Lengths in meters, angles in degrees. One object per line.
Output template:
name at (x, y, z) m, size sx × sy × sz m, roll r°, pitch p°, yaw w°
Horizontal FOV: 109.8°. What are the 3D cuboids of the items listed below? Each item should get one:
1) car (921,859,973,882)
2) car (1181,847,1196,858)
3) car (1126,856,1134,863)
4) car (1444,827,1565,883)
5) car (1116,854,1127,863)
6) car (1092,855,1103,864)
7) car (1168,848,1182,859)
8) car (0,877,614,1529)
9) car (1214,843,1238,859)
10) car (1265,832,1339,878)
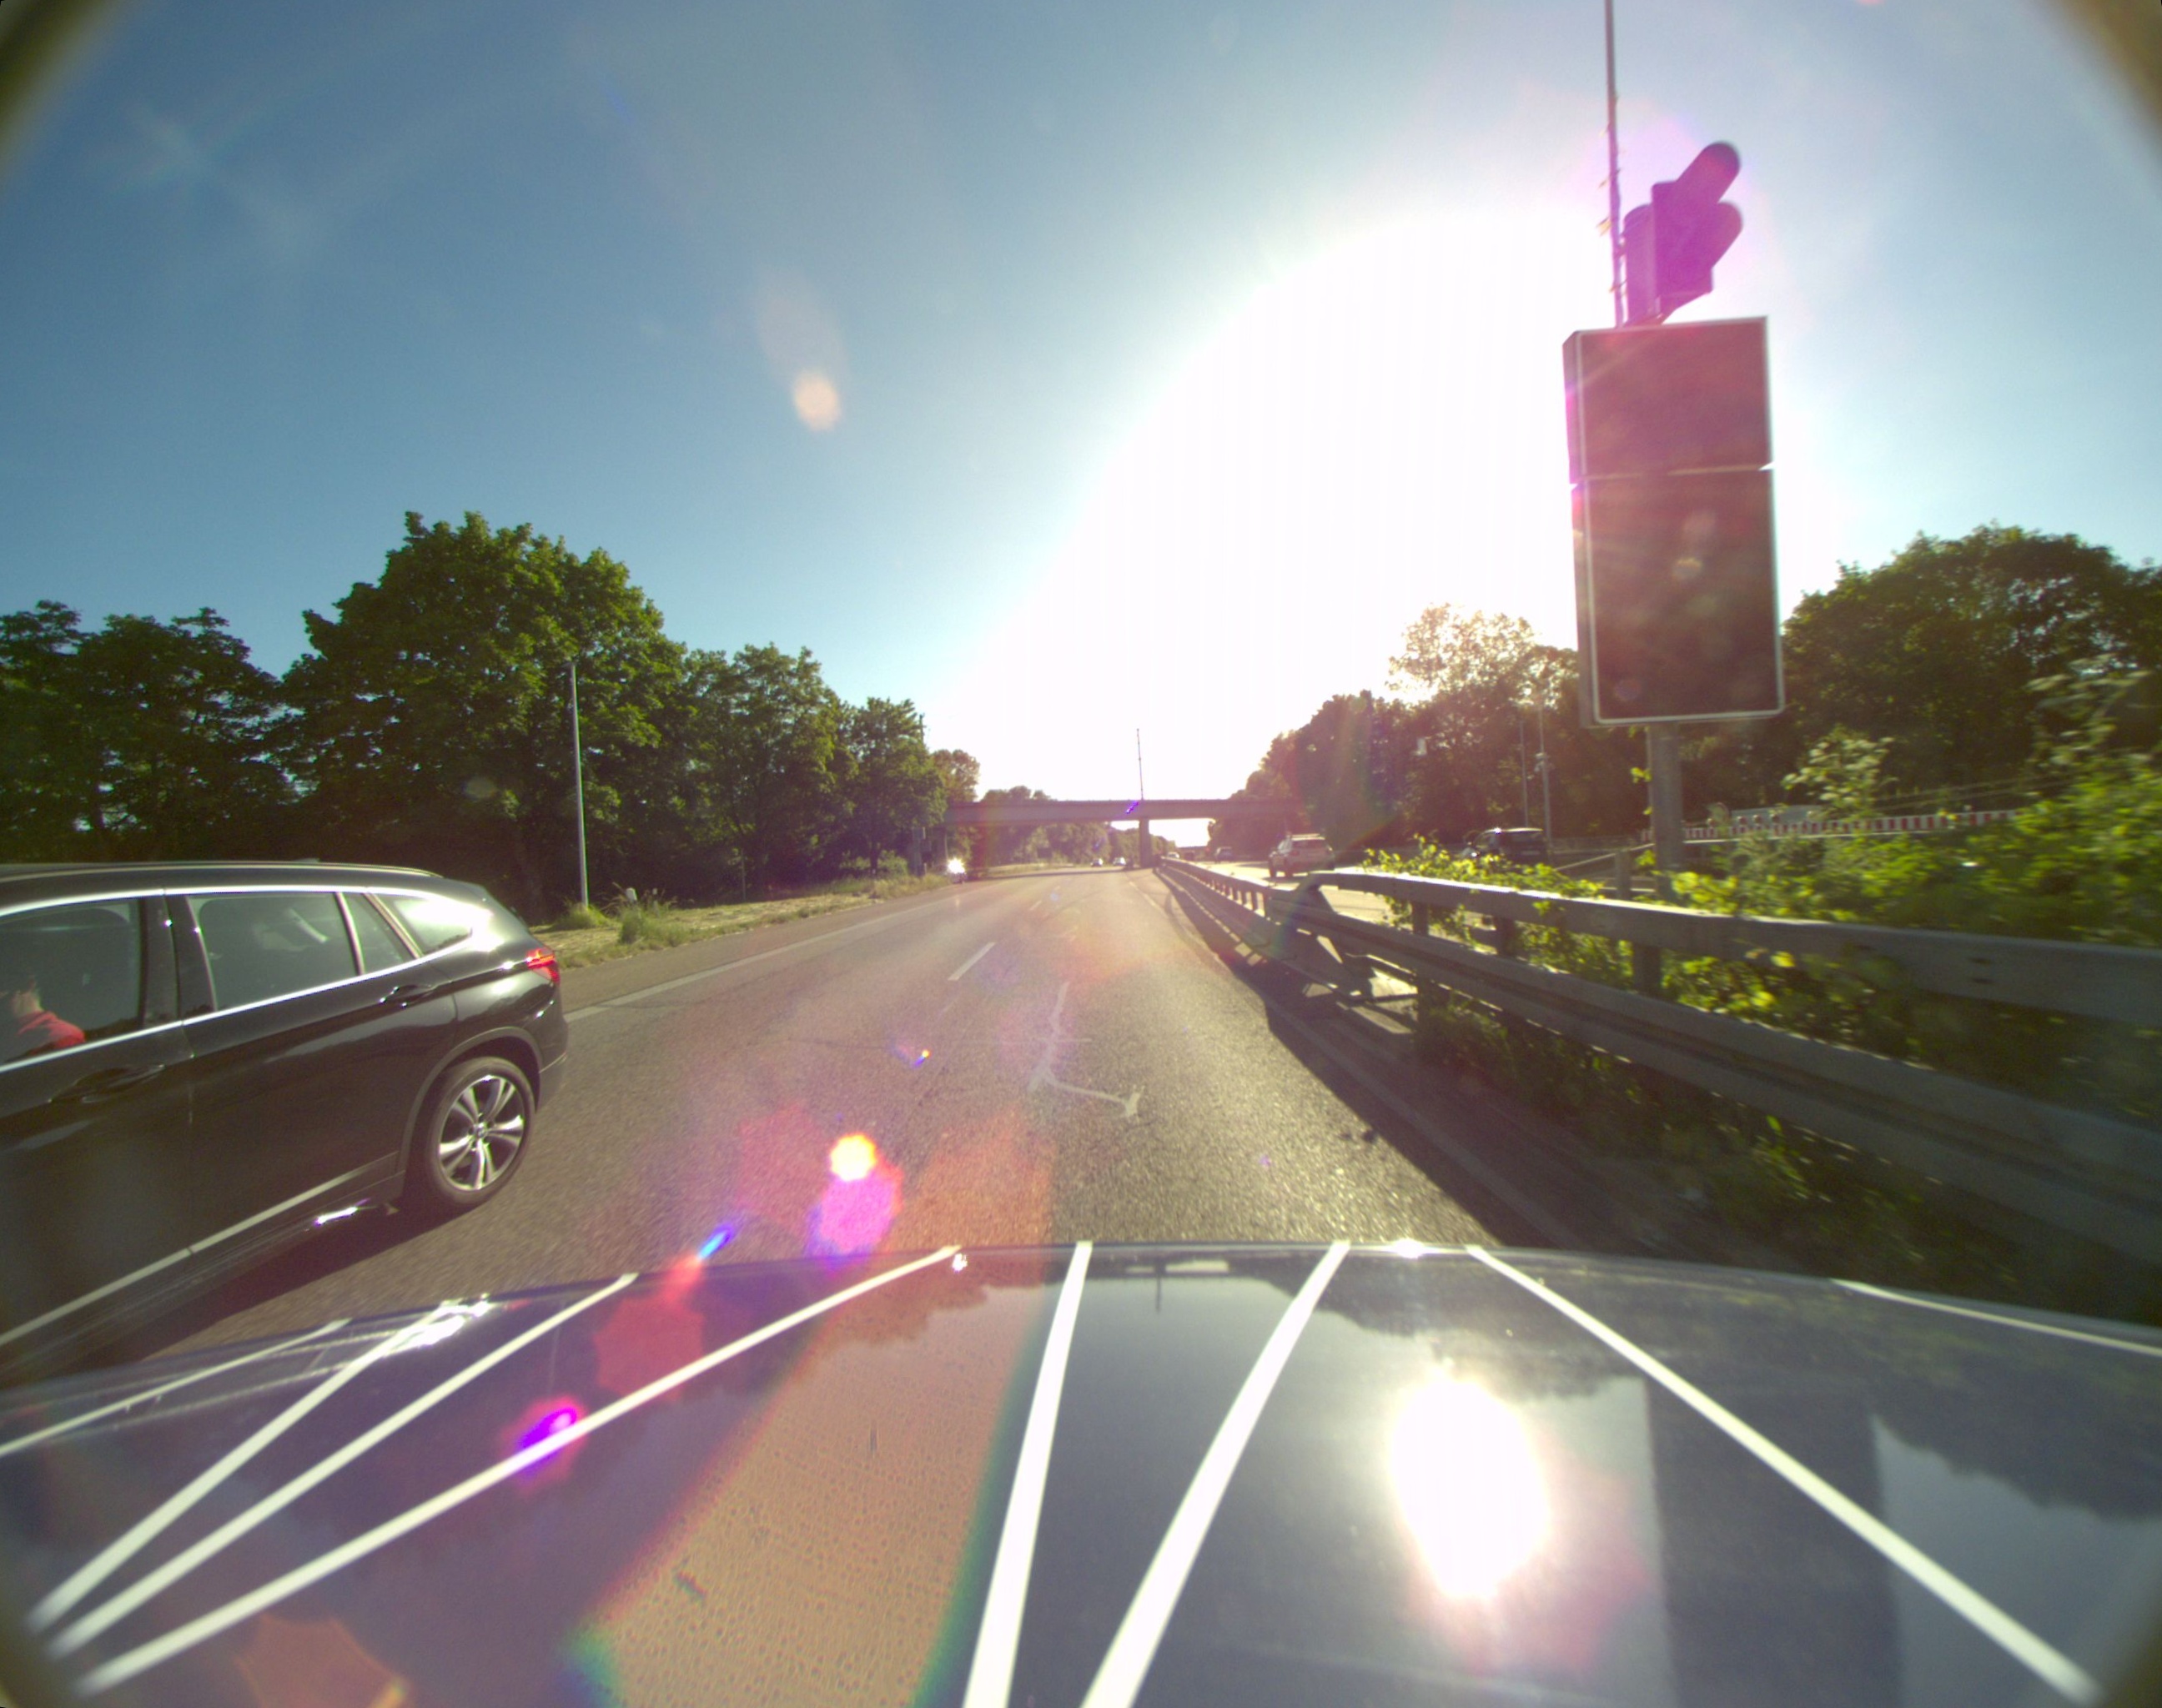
car at (-9.063, 1.079, 51.591) m, size 1.761 × 1.401 × 4.060 m, roll -3°, pitch 0°, yaw 17°
car at (18.591, -0.247, 131.504) m, size 1.998 × 1.899 × 5.522 m, roll -2°, pitch 0°, yaw 3°
car at (10.605, 1.233, 163.630) m, size 1.725 × 1.412 × 3.670 m, roll -3°, pitch 0°, yaw 4°
car at (12.395, 0.023, 22.478) m, size 1.613 × 1.476 × 3.392 m, roll -2°, pitch 0°, yaw -1°
car at (6.876, 0.720, 129.440) m, size 1.725 × 1.412 × 3.669 m, roll -3°, pitch 0°, yaw 0°
car at (2.846, 0.947, 130.049) m, size 1.682 × 1.412 × 3.670 m, roll -3°, pitch 0°, yaw 3°
car at (14.554, -0.053, 118.066) m, size 1.791 × 1.569 × 4.533 m, roll -2°, pitch 0°, yaw 3°
car at (-3.638, 0.983, 2.087) m, size 1.759 × 1.563 × 4.521 m, roll -5°, pitch 0°, yaw 1°
car at (14.823, -0.304, 77.794) m, size 1.676 × 1.563 × 4.321 m, roll -2°, pitch 0°, yaw 2°
car at (8.541, 0.021, 29.703) m, size 1.720 × 1.566 × 4.163 m, roll -4°, pitch 1°, yaw 1°
